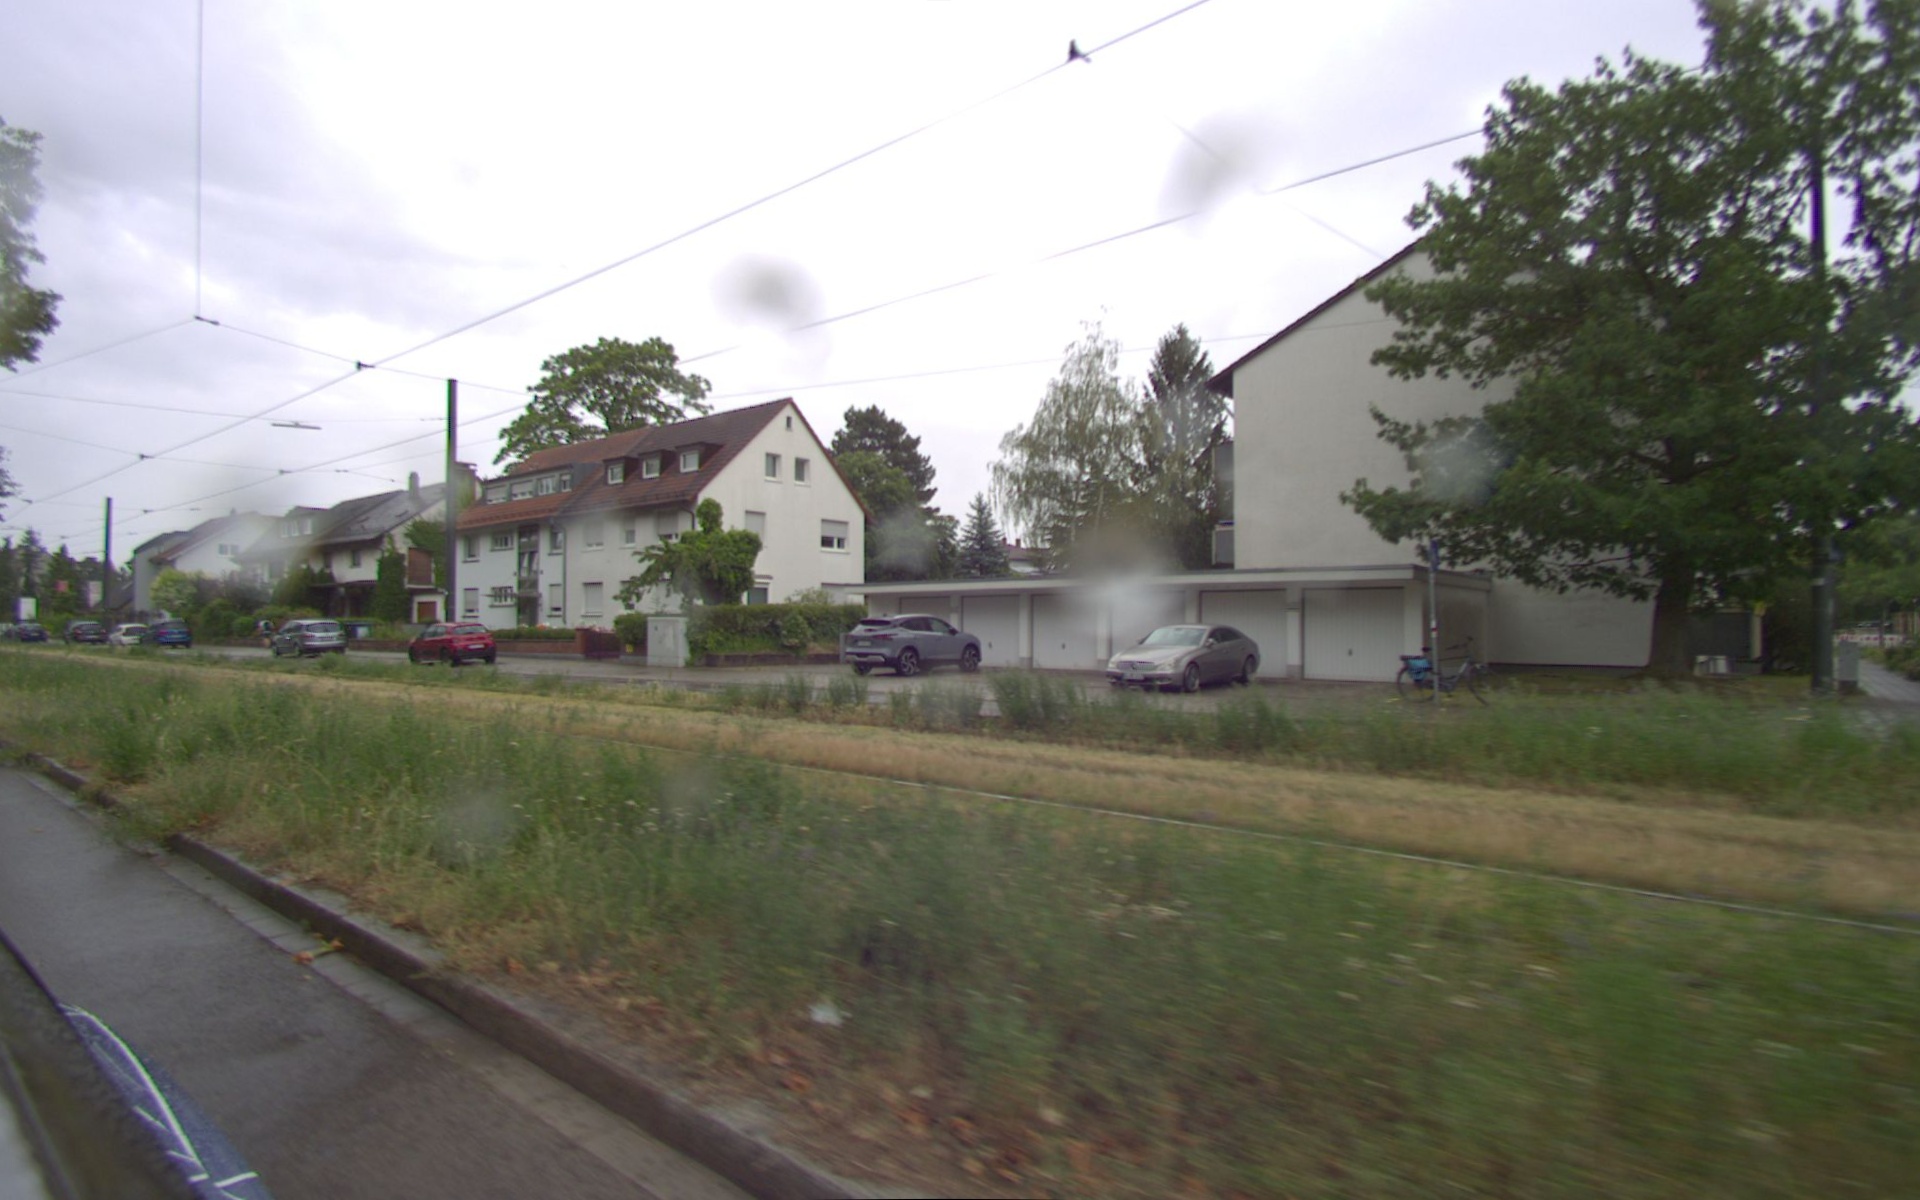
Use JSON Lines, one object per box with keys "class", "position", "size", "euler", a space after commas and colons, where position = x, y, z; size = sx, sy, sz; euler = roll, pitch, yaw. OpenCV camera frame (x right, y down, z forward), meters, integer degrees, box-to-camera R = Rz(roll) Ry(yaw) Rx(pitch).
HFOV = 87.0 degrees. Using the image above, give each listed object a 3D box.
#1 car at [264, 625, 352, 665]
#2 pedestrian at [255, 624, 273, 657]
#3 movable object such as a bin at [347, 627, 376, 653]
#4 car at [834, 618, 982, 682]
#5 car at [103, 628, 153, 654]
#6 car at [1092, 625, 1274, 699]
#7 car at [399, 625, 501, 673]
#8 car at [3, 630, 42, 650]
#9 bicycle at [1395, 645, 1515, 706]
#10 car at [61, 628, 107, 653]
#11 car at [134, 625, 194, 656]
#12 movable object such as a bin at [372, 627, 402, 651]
{"class": "car", "position": [-28.691, 1.937, 44.473], "size": [4.681, 1.626, 1.973], "euler": [-2, -1, 40]}
{"class": "pedestrian", "position": [-38.119, 2.189, 55.407], "size": [0.868, 1.781, 0.592], "euler": [-2, -1, 39]}
{"class": "movable object such as a bin", "position": [-31.975, 2.125, 54.093], "size": [0.739, 1.308, 1.172], "euler": [-2, -1, 40]}
{"class": "car", "position": [-1.336, 1.324, 27.418], "size": [1.890, 1.588, 3.948], "euler": [-2, -2, 38]}
{"class": "car", "position": [-52.487, 2.566, 63.851], "size": [3.597, 1.540, 1.697], "euler": [-1, 1, 39]}
{"class": "car", "position": [4.967, 1.262, 22.086], "size": [1.847, 1.376, 4.675], "euler": [-2, -1, 42]}
{"class": "car", "position": [-18.157, 1.704, 35.969], "size": [3.970, 1.558, 1.823], "euler": [-2, 0, 40]}
{"class": "car", "position": [-75.590, 3.198, 81.593], "size": [3.850, 1.527, 1.737], "euler": [-1, 0, 39]}
{"class": "bicycle", "position": [8.691, 1.323, 17.820], "size": [1.825, 1.027, 0.480], "euler": [-1, 1, 15]}
{"class": "car", "position": [-61.426, 2.789, 70.937], "size": [4.106, 1.626, 1.737], "euler": [-1, 0, 39]}
{"class": "car", "position": [-46.906, 2.381, 59.623], "size": [4.177, 1.719, 1.826], "euler": [-1, -1, 38]}
{"class": "movable object such as a bin", "position": [-31.170, 2.111, 55.011], "size": [0.739, 1.308, 1.241], "euler": [-2, -1, 40]}
